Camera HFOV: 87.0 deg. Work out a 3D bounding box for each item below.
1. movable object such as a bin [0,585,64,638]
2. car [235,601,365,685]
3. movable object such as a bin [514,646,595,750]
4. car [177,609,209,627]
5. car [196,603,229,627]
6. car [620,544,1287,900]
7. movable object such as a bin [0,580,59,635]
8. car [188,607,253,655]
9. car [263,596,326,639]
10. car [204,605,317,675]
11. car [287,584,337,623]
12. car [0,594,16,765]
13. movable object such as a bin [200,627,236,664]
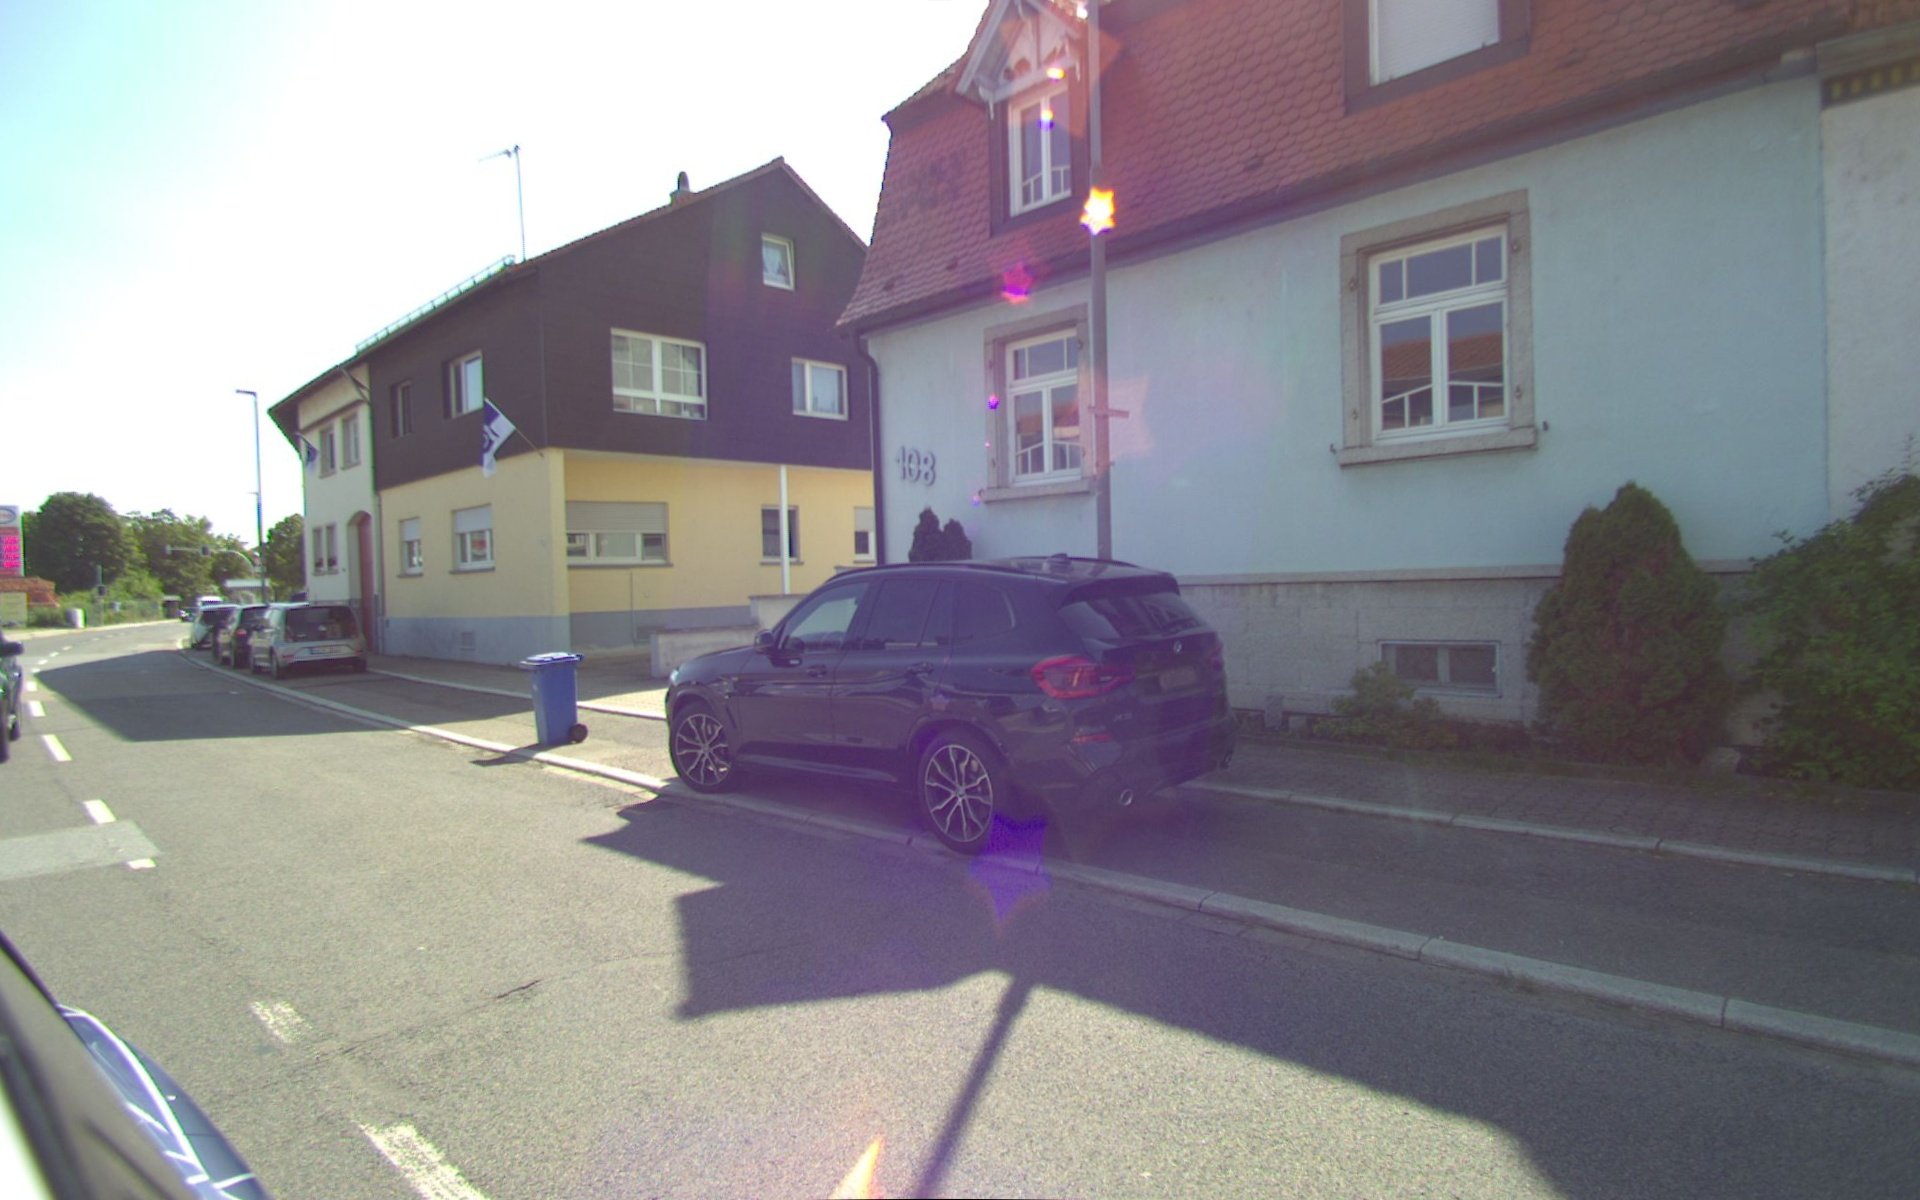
[{"bbox_3d":[-80.188,0.988,80.497,13.077,4.197,2.870,-1,0,-35],"label":"movable object such as a bin"},{"bbox_3d":[-13.932,0.840,21.278,1.621,1.512,3.785,-5,3,-42],"label":"car"},{"bbox_3d":[-4.248,1.005,10.606,0.531,0.989,0.590,-1,2,44],"label":"movable object such as a bin"},{"bbox_3d":[-73.979,1.732,97.667,1.815,1.604,4.119,-1,0,-28],"label":"car"},{"bbox_3d":[-79.873,1.559,108.174,1.906,2.521,5.857,-1,0,-28],"label":"car"},{"bbox_3d":[-0.337,0.573,7.180,4.666,1.680,1.899,-1,3,43],"label":"car"},{"bbox_3d":[-76.238,0.655,73.536,15.837,4.049,2.781,-1,0,-35],"label":"movable object such as a bin"},{"bbox_3d":[-25.377,1.008,34.705,1.662,1.473,3.657,-3,1,-37],"label":"car"},{"bbox_3d":[-31.493,0.786,48.001,1.811,1.806,4.357,-5,2,-26],"label":"car"},{"bbox_3d":[-17.177,0.907,24.777,1.659,1.447,4.000,-6,4,-42],"label":"car"},{"bbox_3d":[-38.311,0.180,59.733,2.099,2.000,5.279,-7,4,-35],"label":"car"},{"bbox_3d":[-10.953,0.829,10.284,1.821,1.709,4.404,-1,-1,-41],"label":"car"},{"bbox_3d":[-20.123,1.221,27.458,0.825,0.935,0.546,-2,4,42],"label":"movable object such as a bin"}]
